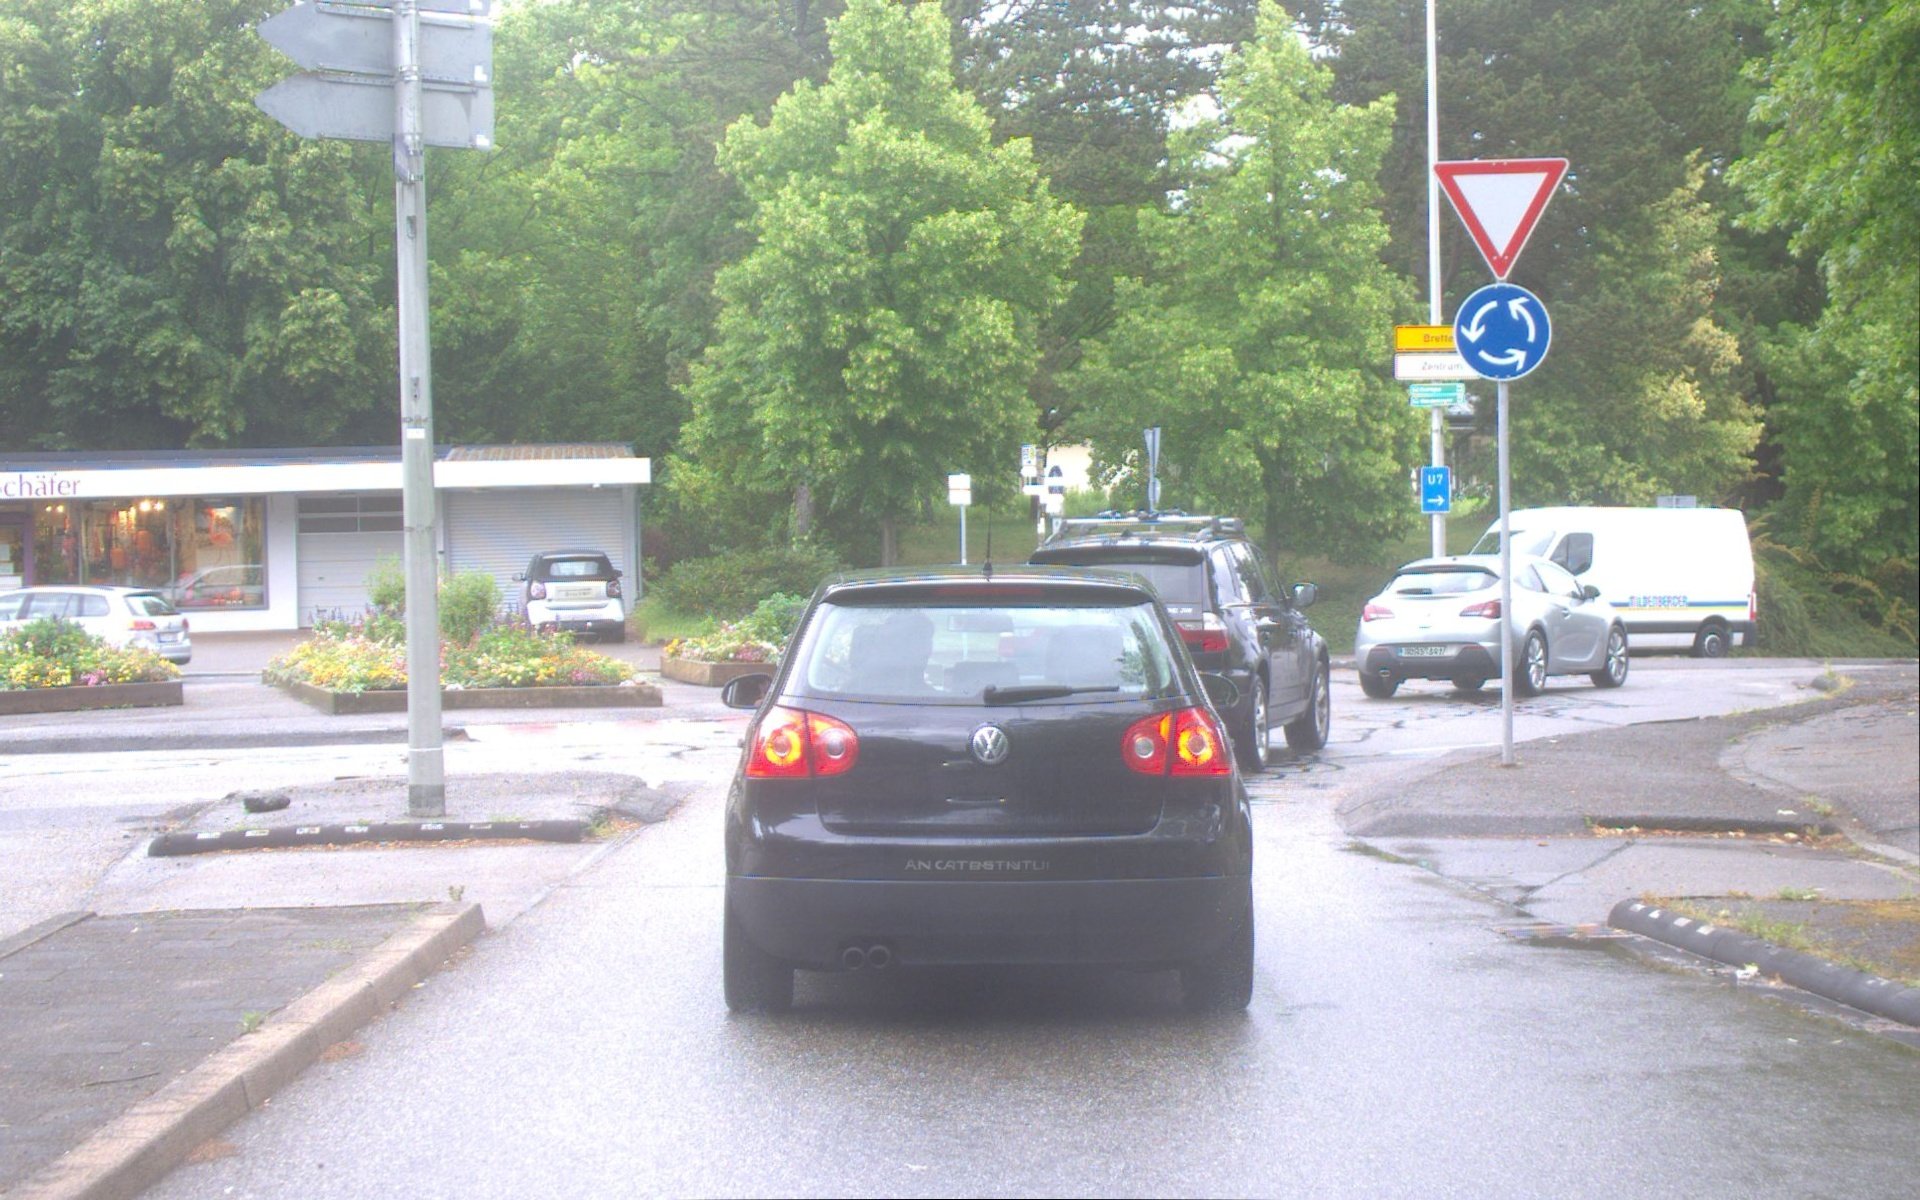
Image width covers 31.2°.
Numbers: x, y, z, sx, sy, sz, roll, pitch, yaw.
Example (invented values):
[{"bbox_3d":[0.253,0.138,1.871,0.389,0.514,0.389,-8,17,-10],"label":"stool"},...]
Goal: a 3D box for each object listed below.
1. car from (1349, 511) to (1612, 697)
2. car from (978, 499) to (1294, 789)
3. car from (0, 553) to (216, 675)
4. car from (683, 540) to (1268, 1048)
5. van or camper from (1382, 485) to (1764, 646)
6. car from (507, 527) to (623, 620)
[{"bbox_3d":[5.526,0.006,36.105,1.766,1.795,4.242,-2,0,22],"label":"car"},{"bbox_3d":[1.141,0.270,24.196,1.764,1.795,4.246,-2,0,-3],"label":"car"},{"bbox_3d":[-13.326,0.191,50.737,4.134,1.735,1.998,0,0,18],"label":"car"},{"bbox_3d":[0.216,0.560,12.502,1.765,1.533,3.999,0,1,5],"label":"car"},{"bbox_3d":[9.446,-0.506,52.820,5.650,2.370,2.201,0,0,-29],"label":"van or camper"},{"bbox_3d":[-6.828,-0.471,59.157,1.812,1.481,3.832,-2,1,-8],"label":"car"}]
